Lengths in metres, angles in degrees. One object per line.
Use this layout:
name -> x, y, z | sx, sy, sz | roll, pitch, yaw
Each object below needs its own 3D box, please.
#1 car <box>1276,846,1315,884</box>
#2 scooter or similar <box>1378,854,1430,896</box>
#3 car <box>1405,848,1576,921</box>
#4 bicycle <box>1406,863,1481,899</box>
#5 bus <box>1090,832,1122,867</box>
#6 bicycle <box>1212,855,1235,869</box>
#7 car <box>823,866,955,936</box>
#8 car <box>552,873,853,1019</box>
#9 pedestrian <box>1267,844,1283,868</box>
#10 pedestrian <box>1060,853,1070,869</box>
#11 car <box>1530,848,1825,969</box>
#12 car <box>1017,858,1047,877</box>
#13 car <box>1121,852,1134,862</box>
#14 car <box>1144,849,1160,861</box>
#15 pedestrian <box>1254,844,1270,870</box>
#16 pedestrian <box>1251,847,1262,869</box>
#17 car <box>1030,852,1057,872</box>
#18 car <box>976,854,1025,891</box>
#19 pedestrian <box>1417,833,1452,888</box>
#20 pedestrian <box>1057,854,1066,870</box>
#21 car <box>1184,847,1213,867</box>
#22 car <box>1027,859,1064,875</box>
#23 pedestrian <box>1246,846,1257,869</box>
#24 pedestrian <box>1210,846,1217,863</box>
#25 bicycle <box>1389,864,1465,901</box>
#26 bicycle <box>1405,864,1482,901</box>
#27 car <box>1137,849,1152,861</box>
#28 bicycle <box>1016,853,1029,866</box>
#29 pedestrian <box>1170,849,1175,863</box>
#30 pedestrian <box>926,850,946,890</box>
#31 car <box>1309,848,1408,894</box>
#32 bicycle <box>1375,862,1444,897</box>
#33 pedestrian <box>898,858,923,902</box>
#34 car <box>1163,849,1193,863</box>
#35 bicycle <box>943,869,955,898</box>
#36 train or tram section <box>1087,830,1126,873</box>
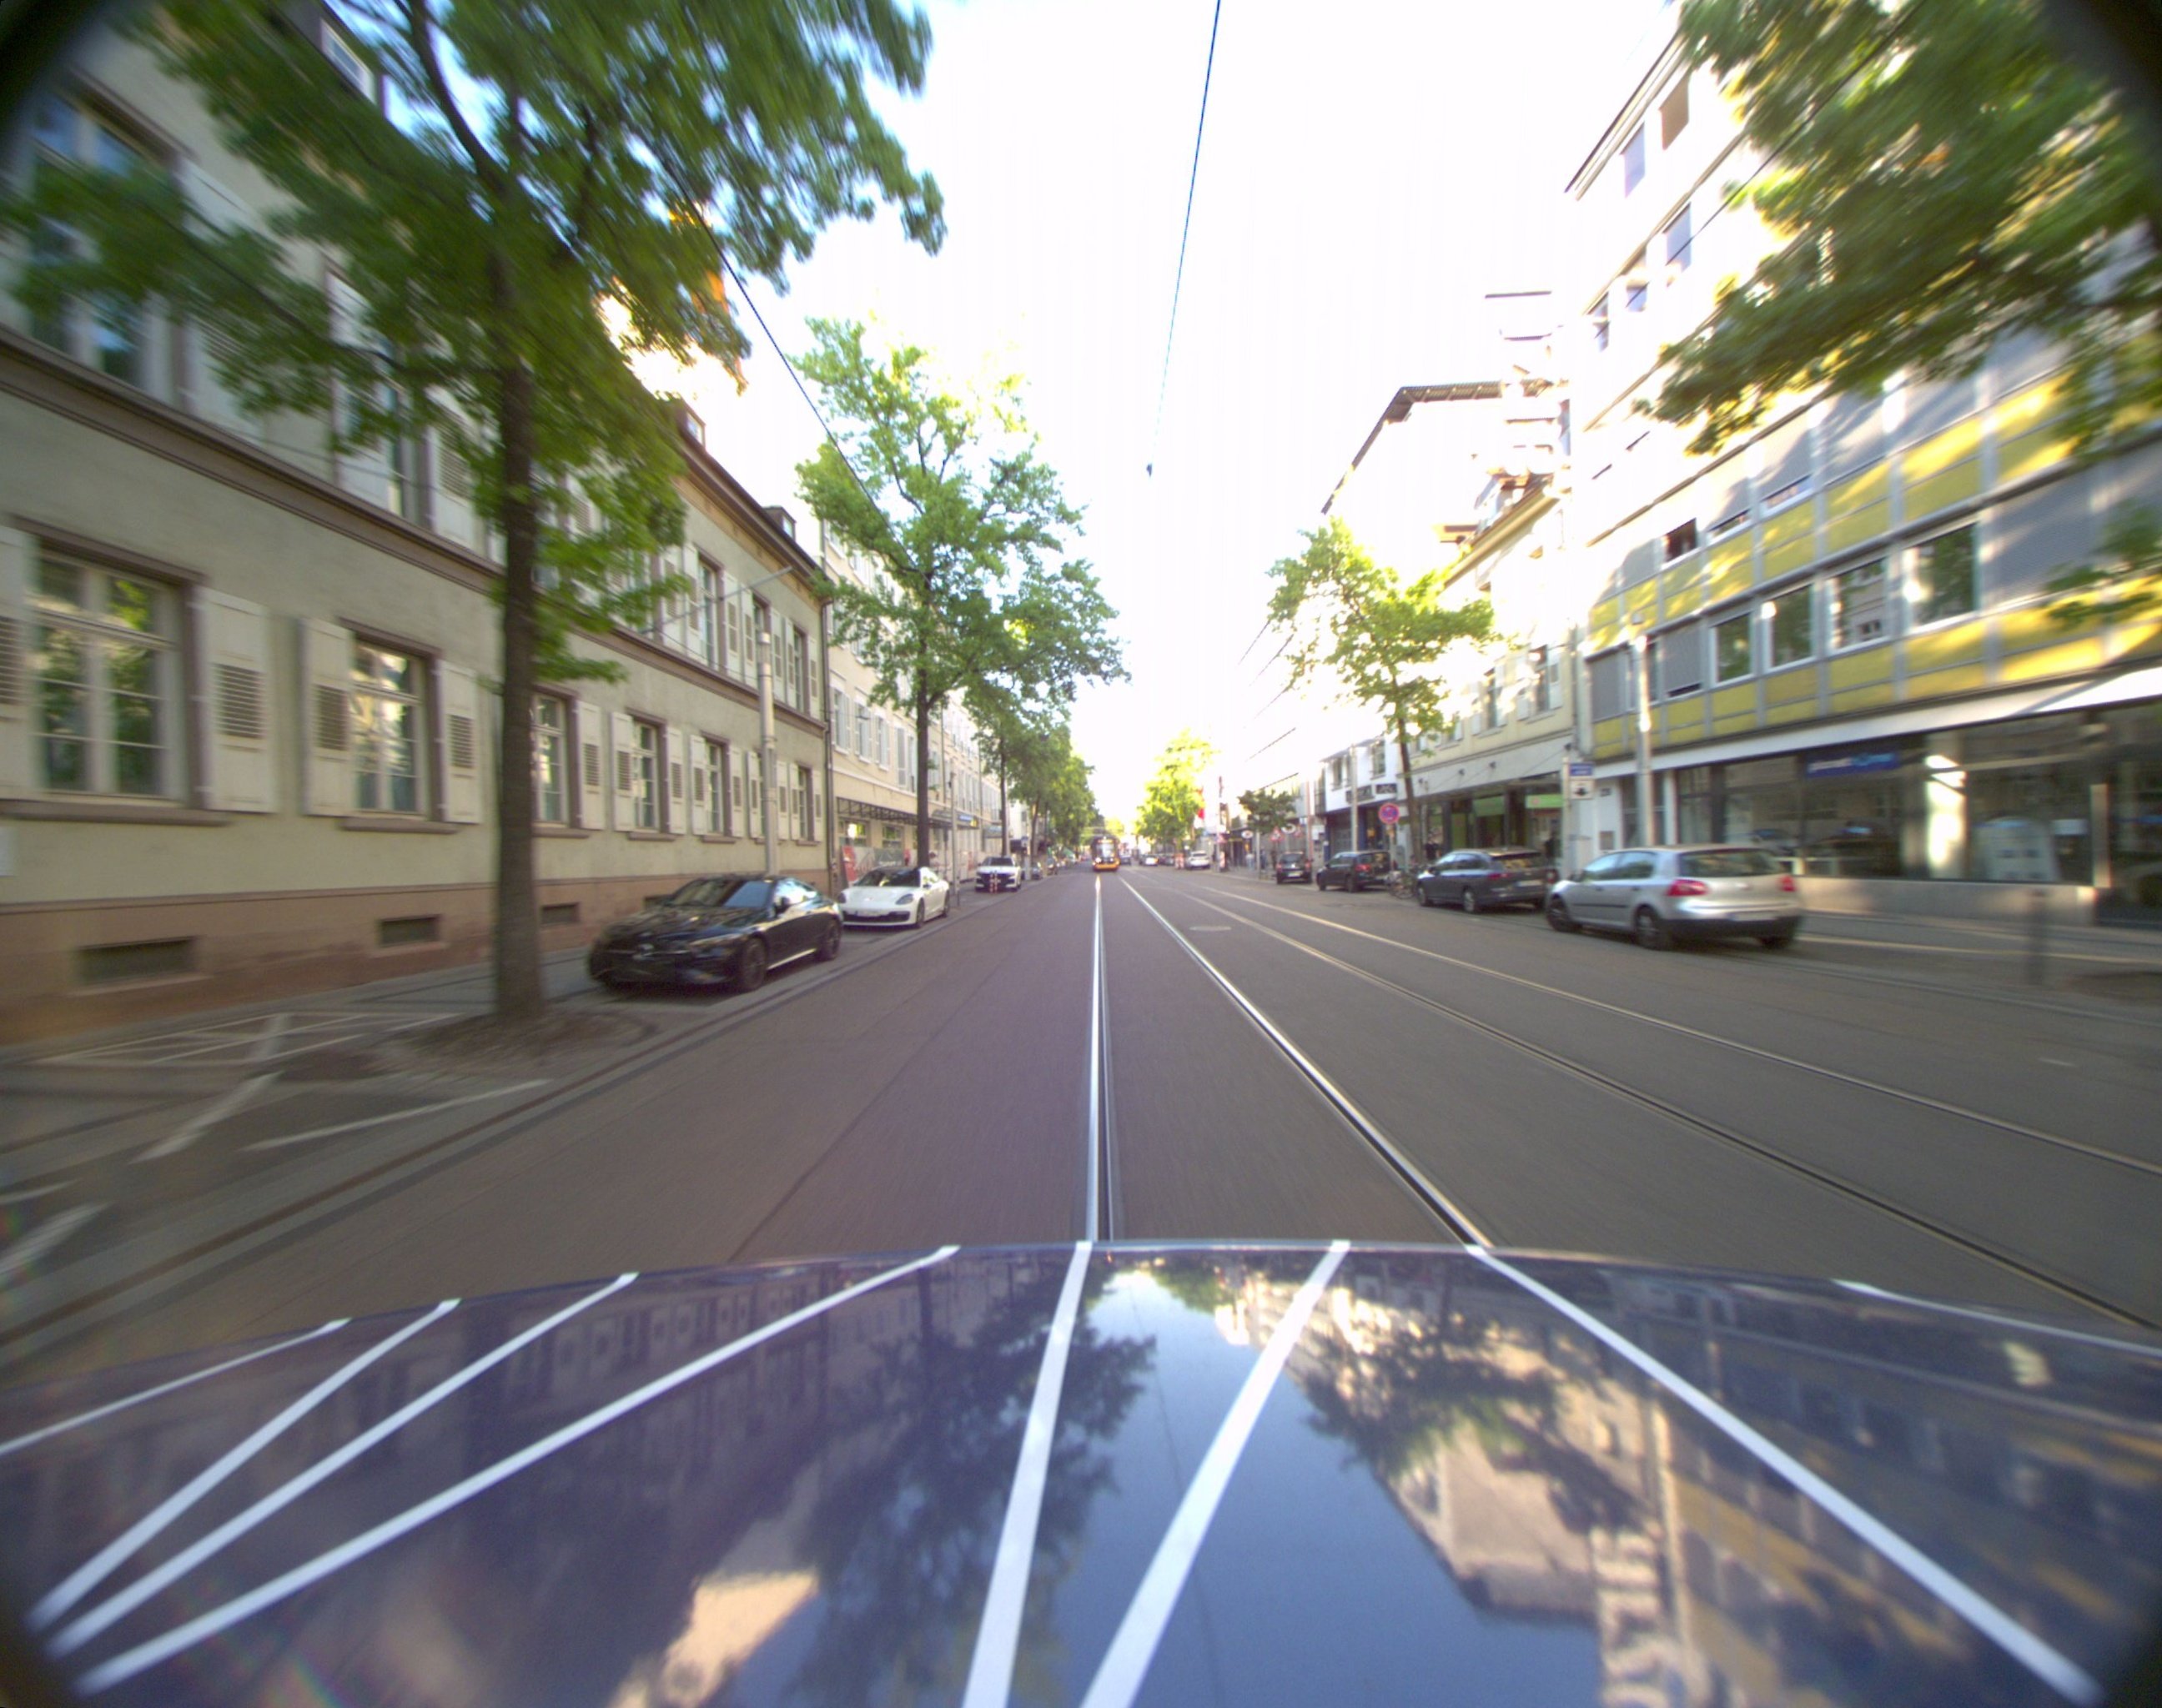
car -> 10.329, 0.486, 36.543 | 1.632, 1.606, 3.712 | -4, 0, 16
scooter or similar -> 10.421, 0.685, 24.526 | 1.422, 1.263, 0.375 | -4, 0, 6
car -> 9.575, 0.630, 18.233 | 1.715, 1.452, 4.486 | -3, 0, 2
bicycle -> 10.679, 0.783, 22.418 | 1.975, 0.995, 0.419 | -2, 1, 6
bus -> 3.119, -0.471, 95.479 | 3.616, 3.974, 17.484 | -2, 0, 2
bicycle -> 11.563, 0.632, 61.631 | 1.748, 0.986, 0.478 | -5, 0, 9
car -> -4.601, 1.064, 19.027 | 1.917, 1.412, 4.888 | 1, 0, 2
car -> -4.905, 1.076, 10.779 | 1.837, 1.469, 4.761 | 0, 0, 1
pedestrian -> 14.196, 0.138, 55.595 | 0.834, 1.685, 1.038 | -4, 0, 2
pedestrian -> -1.964, 0.914, 92.780 | 0.771, 1.922, 0.875 | -1, 0, 36
car -> 8.907, 0.697, 11.883 | 1.770, 1.488, 4.177 | -2, 1, 8
car -> -3.602, 0.983, 56.257 | 1.798, 1.304, 4.330 | 0, 0, 2
car -> 6.975, 0.494, 113.738 | 1.783, 1.399, 4.528 | -2, 0, 2
car -> 9.384, 0.157, 100.998 | 1.889, 1.602, 4.201 | 0, 0, 1
pedestrian -> 12.511, 0.201, 52.587 | 0.853, 1.756, 0.832 | -2, 0, -1
pedestrian -> 13.973, 0.288, 60.463 | 0.628, 1.703, 0.808 | -3, 0, 5
car -> -3.411, 0.678, 69.841 | 1.956, 1.782, 4.317 | 0, 0, 5
car -> -3.876, 0.849, 37.307 | 2.003, 1.678, 4.966 | 0, 1, -2
pedestrian -> 12.168, 0.219, 26.167 | 0.661, 1.815, 0.878 | -5, 0, 2
pedestrian -> -2.445, 0.930, 93.435 | 0.671, 1.922, 0.875 | -1, 0, 36
car -> 11.229, 0.246, 72.862 | 1.998, 1.744, 4.744 | -4, 0, 1
car -> -4.045, 1.489, 87.640 | 3.937, 1.599, 1.867 | -2, 2, 8
pedestrian -> 13.149, 0.254, 58.524 | 0.643, 1.703, 0.829 | -3, 0, 5
pedestrian -> 15.588, 0.033, 89.478 | 0.616, 2.002, 0.592 | -2, 0, 0
bicycle -> 10.000, 0.822, 21.995 | 1.975, 0.995, 0.330 | -2, 1, 4
bicycle -> 10.291, 0.812, 21.600 | 1.975, 0.995, 0.330 | -2, 1, 4
car -> 9.501, 0.113, 113.606 | 2.039, 1.796, 4.201 | -1, 0, 1
bicycle -> -4.854, 0.467, 62.868 | 0.656, 1.064, 1.672 | 0, 0, -18
pedestrian -> 12.723, 0.213, 105.873 | 0.656, 1.922, 0.723 | -2, 0, 3
pedestrian -> -7.002, 0.769, 36.720 | 0.714, 1.876, 1.053 | 0, 1, 2
car -> 10.159, 0.586, 28.170 | 1.797, 1.481, 4.240 | -3, 0, -5
bicycle -> 10.225, 0.795, 23.683 | 1.975, 0.995, 0.330 | -2, 1, 4
pedestrian -> -6.139, 0.922, 27.461 | 0.650, 1.564, 0.798 | -2, 1, 1
car -> 12.805, 0.254, 100.358 | 3.403, 1.551, 1.786 | -5, 1, -22
bicycle -> -5.458, 1.187, 31.403 | 0.419, 1.094, 1.986 | 0, 1, -8
train or tram section -> 2.613, -0.193, 78.891 | 3.607, 3.974, 15.717 | -2, 0, 2
